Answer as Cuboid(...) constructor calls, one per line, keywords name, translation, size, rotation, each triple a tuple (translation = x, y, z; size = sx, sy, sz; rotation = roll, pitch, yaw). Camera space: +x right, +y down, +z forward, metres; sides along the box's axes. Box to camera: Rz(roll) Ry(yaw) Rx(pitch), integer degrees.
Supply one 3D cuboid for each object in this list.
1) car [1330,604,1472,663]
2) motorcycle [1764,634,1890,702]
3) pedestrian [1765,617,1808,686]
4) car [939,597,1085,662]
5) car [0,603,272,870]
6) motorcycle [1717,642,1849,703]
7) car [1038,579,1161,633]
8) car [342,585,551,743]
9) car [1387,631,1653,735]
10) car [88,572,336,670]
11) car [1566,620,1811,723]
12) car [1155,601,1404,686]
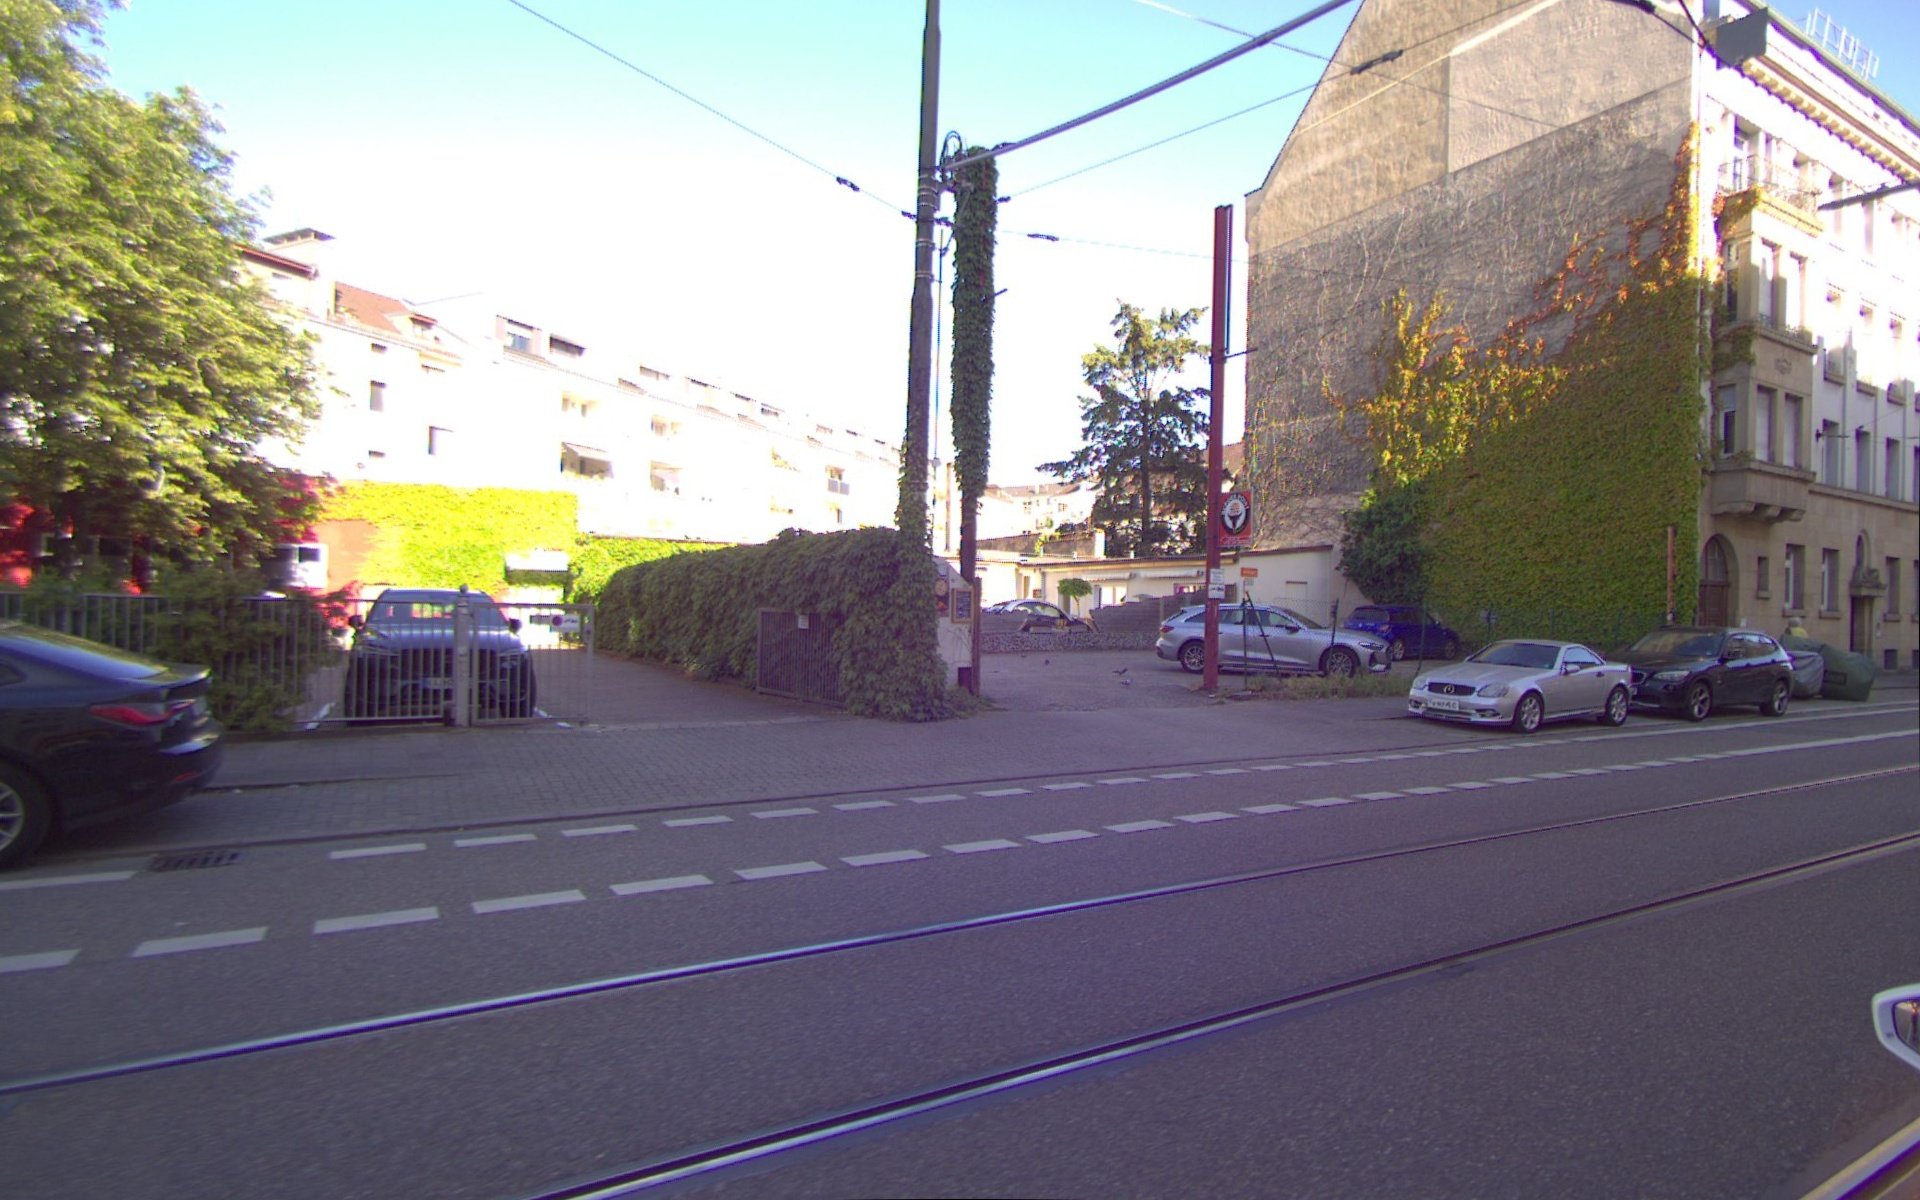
Cuboid(name="car", translation=(12.464, 0.940, 28.342), size=(3.863, 1.546, 1.744), rotation=(1, 0, -30))
Cuboid(name="motorcycle", translation=(18.825, 1.468, 21.847), size=(1.918, 1.369, 0.886), rotation=(1, 0, 2))
Cuboid(name="pedestrian", translation=(21.599, 1.340, 26.245), size=(0.609, 1.747, 0.676), rotation=(1, 0, -30))
Cuboid(name="car", translation=(1.539, 0.851, 29.398), size=(3.953, 1.773, 1.788), rotation=(1, 0, -30))
Cuboid(name="car", translation=(-7.002, 0.756, 5.843), size=(4.785, 1.465, 1.774), rotation=(2, 1, -31))
Cuboid(name="motorcycle", translation=(17.204, 1.506, 21.030), size=(2.137, 1.187, 0.741), rotation=(1, 0, 0))
Cuboid(name="car", translation=(4.823, 0.225, 34.603), size=(3.953, 1.773, 1.788), rotation=(1, 0, -30))
Cuboid(name="car", translation=(-6.499, 0.667, 12.722), size=(1.975, 1.619, 4.343), rotation=(2, 0, -28))
Cuboid(name="car", translation=(8.807, 1.225, 15.727), size=(4.172, 1.331, 1.774), rotation=(2, 1, -31))
Cuboid(name="car", translation=(-15.894, 0.446, 21.582), size=(4.109, 1.919, 1.754), rotation=(1, 0, -36))
Cuboid(name="car", translation=(13.163, 1.226, 18.095), size=(4.554, 1.586, 1.775), rotation=(2, 1, -29))
Cuboid(name="car", translation=(6.666, 0.846, 21.033), size=(4.708, 1.538, 1.998), rotation=(1, 0, 27))
